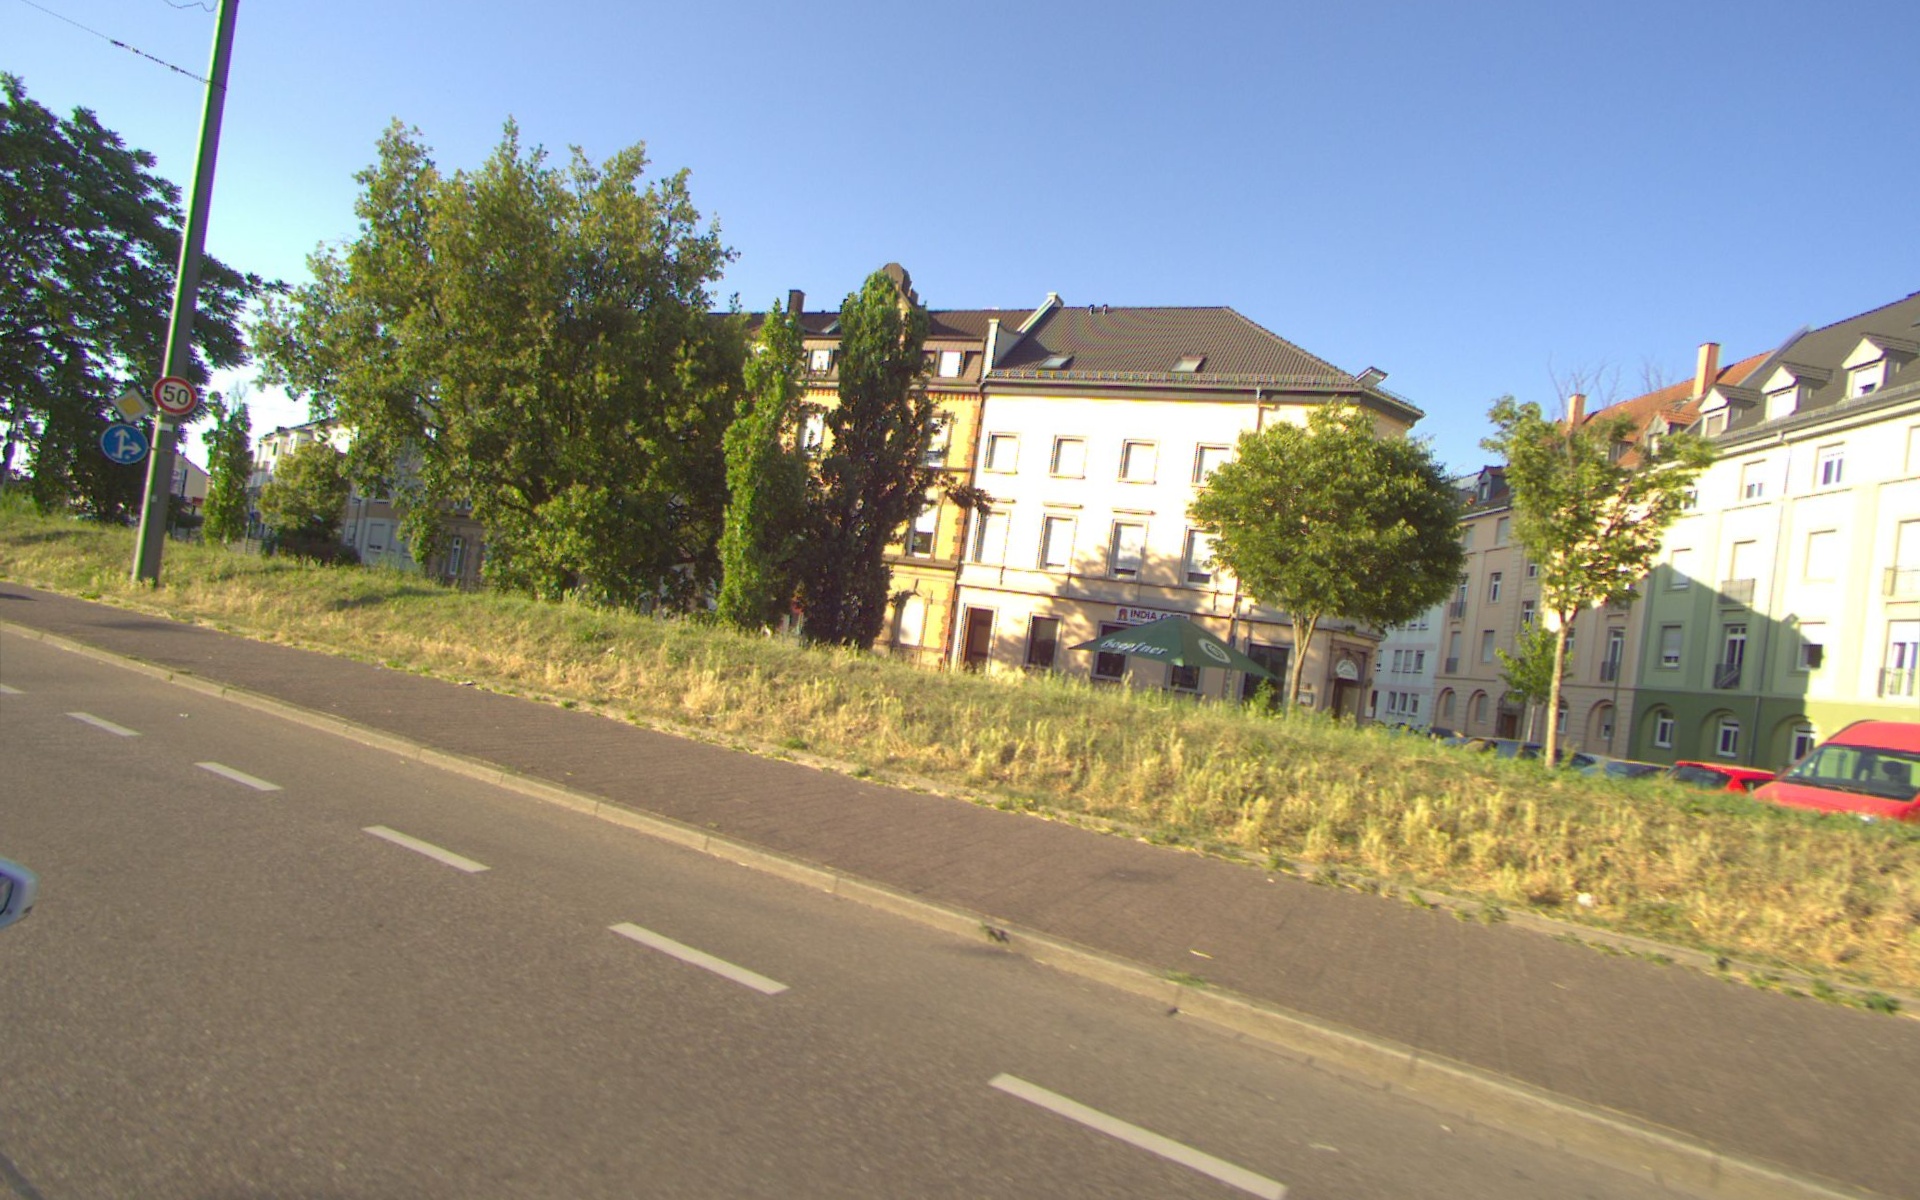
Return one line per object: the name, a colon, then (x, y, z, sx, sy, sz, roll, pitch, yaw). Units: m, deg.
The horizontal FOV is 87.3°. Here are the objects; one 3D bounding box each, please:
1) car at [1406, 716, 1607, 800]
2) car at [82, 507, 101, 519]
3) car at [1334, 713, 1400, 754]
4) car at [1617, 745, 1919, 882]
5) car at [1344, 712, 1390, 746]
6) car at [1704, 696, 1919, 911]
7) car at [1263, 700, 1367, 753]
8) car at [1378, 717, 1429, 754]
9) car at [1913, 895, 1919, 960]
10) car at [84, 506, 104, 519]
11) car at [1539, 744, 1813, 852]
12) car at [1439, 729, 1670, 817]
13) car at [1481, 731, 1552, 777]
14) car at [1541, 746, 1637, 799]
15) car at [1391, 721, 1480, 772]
car: (12.623, 3.637, 23.369, 3.641, 1.273, 1.707, 8, -2, -3)
car: (-130.720, -13.093, 151.416, 1.852, 1.561, 3.956, 9, -2, -40)
car: (17.980, 5.881, 44.581, 1.528, 1.400, 3.103, 8, -3, 0)
car: (12.741, 3.296, 15.635, 3.820, 1.389, 1.780, 8, -2, -3)
car: (23.358, 7.390, 57.782, 1.291, 1.531, 2.867, 8, -3, 0)
car: (12.806, 2.735, 12.645, 5.318, 2.239, 2.044, 8, -2, -3)
car: (10.298, 3.654, 29.402, 1.495, 1.056, 3.542, 8, -2, -4)
car: (23.352, 7.108, 53.053, 1.291, 1.531, 2.867, 8, -3, 0)
car: (13.091, 2.758, 9.574, 6.104, 2.696, 2.044, 8, -2, -3)
car: (-121.481, -12.250, 141.142, 1.852, 1.561, 3.836, 9, -2, -40)
car: (12.687, 3.494, 17.963, 3.641, 1.174, 1.707, 8, -2, -3)
car: (12.029, 3.493, 20.500, 3.641, 1.102, 1.707, 8, -2, -3)
car: (24.199, 6.671, 43.843, 1.291, 1.531, 3.013, 8, -3, 0)
car: (24.192, 6.608, 38.832, 1.291, 1.435, 3.634, 8, -3, 0)
car: (18.036, 5.527, 38.315, 1.528, 1.400, 3.641, 8, -3, 0)
